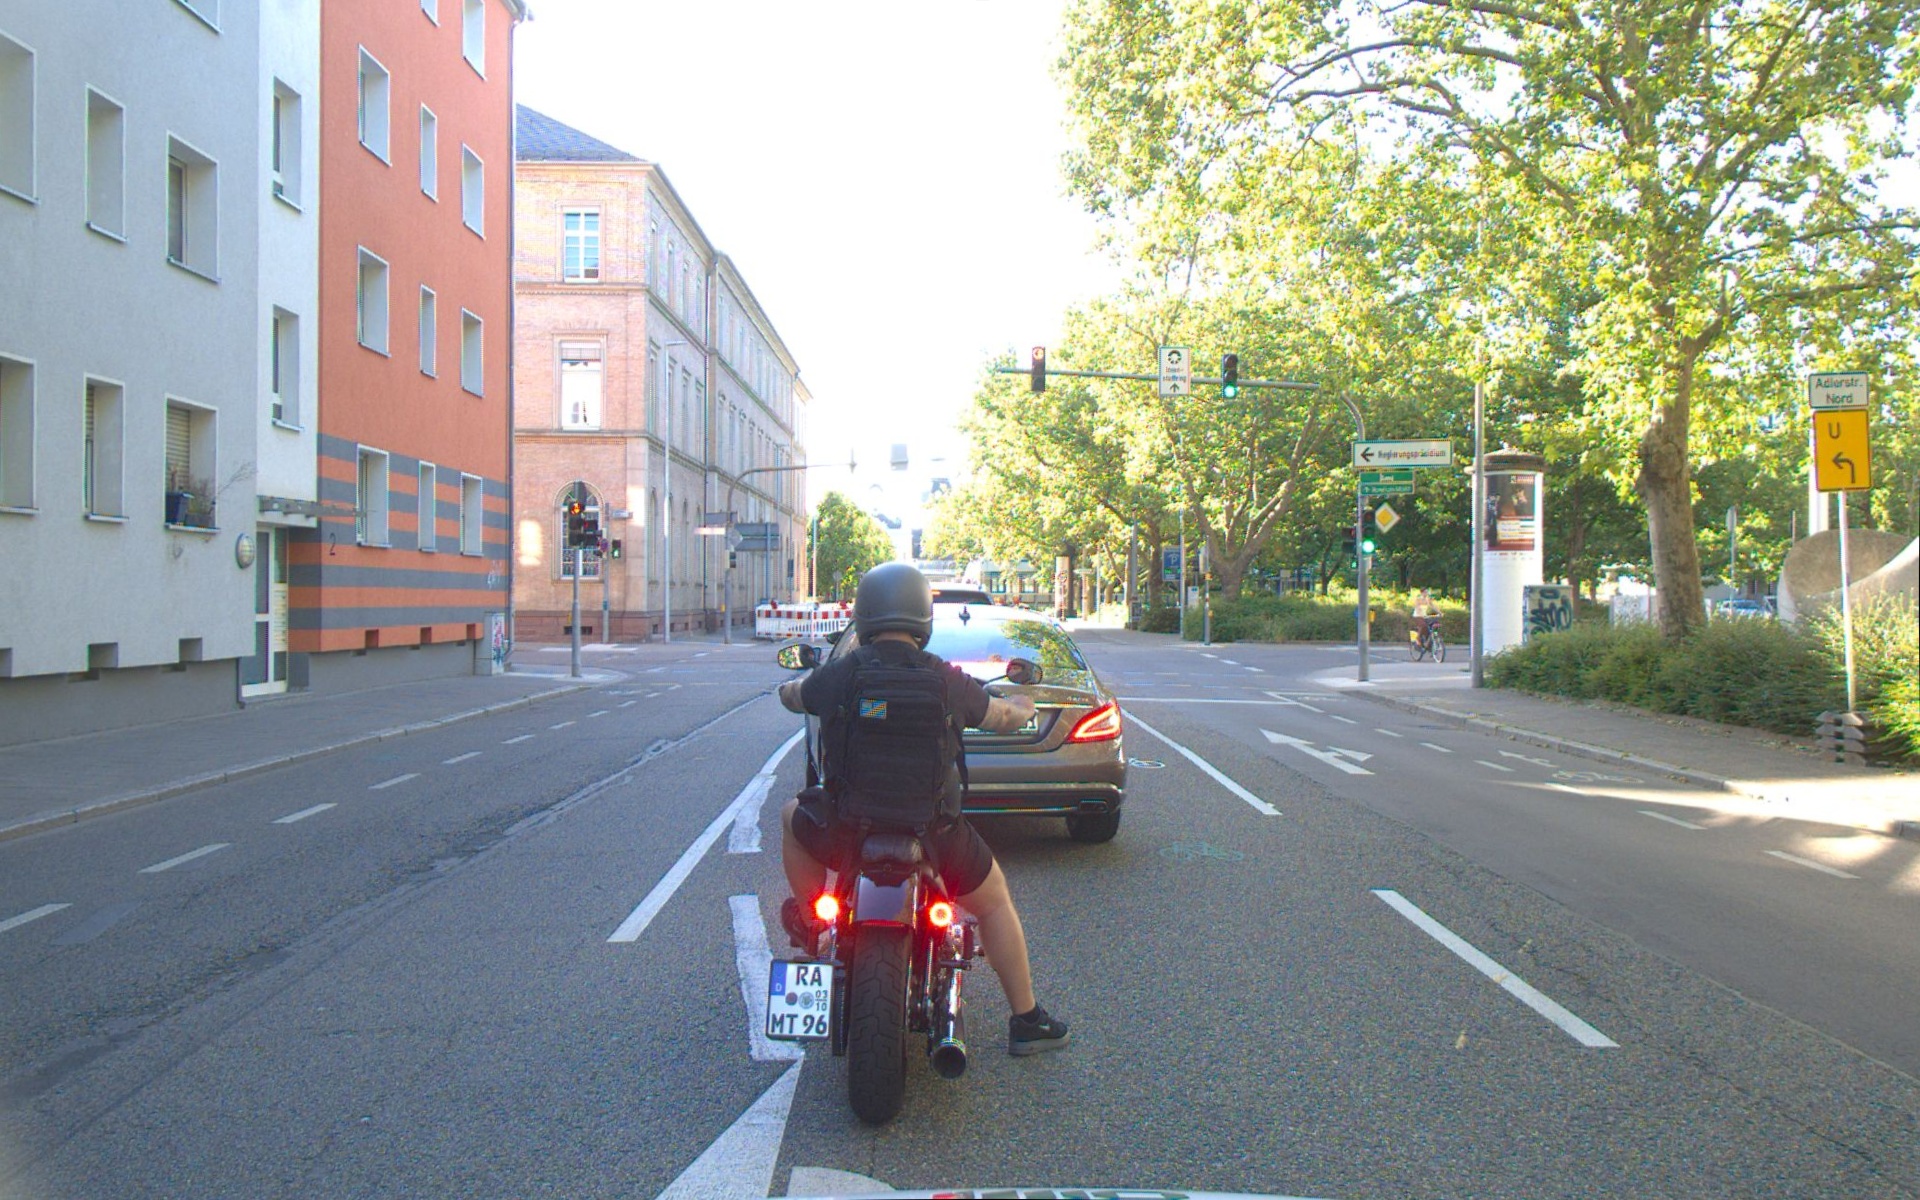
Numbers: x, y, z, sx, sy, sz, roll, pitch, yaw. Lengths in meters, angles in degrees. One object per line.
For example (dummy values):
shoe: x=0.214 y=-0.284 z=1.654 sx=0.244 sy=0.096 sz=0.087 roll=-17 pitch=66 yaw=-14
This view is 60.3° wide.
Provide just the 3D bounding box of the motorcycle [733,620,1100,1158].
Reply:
motorcycle: x=-0.129 y=0.776 z=5.508 sx=0.942 sy=1.380 sz=2.319 roll=1 pitch=0 yaw=-1

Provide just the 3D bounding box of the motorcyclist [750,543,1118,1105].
motorcyclist: x=-0.079 y=0.651 z=5.240 sx=1.039 sy=1.610 sz=0.908 roll=1 pitch=0 yaw=-1

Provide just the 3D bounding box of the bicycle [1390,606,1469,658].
bicycle: x=11.235 y=0.763 z=39.675 sx=0.705 sy=1.193 sz=2.164 roll=1 pitch=0 yaw=-19

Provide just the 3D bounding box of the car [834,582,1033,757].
car: x=-0.344 y=0.609 z=16.739 sx=1.777 sy=1.563 sz=3.846 roll=0 pitch=0 yaw=-3

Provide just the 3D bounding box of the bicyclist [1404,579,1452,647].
bicyclist: x=11.240 y=0.305 z=39.724 sx=0.705 sy=1.610 sz=0.931 roll=1 pitch=-1 yaw=-19

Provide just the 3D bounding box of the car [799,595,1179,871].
car: x=-0.031 y=0.701 z=11.076 sx=1.867 sy=1.466 sz=4.280 roll=0 pitch=0 yaw=-9
